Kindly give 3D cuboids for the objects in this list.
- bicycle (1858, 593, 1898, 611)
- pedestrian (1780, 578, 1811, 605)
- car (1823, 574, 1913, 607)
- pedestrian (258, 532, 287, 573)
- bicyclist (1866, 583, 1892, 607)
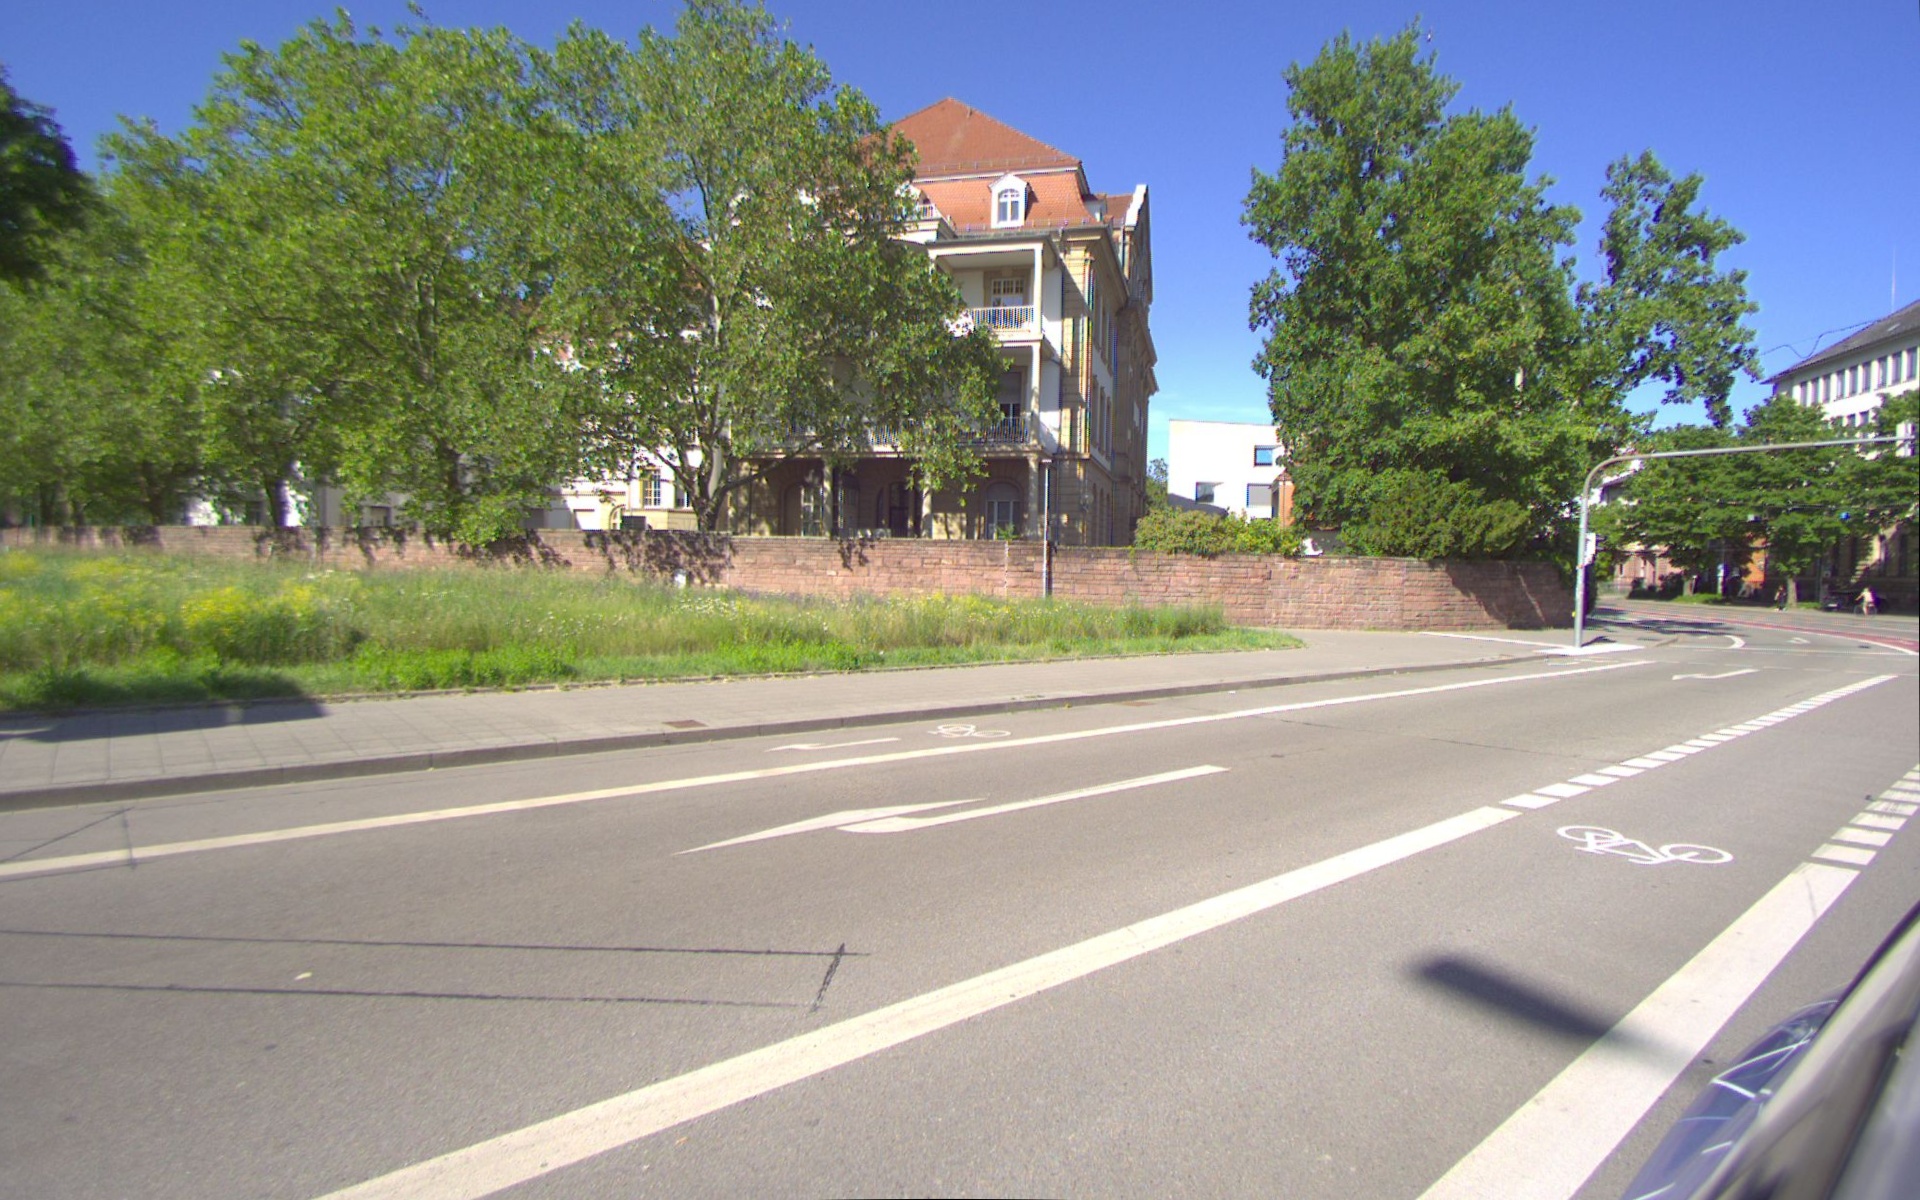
[{"bbox_3d":[55.175,0.102,60.840,0.720,1.003,1.834,1,2,3],"label":"bicycle"},{"bbox_3d":[59.417,-0.623,71.993,1.366,1.844,0.937,1,1,4],"label":"pedestrian"},{"bbox_3d":[61.208,-0.645,68.247,4.615,2.038,2.004,1,2,-9],"label":"car"},{"bbox_3d":[-25.384,-1.749,37.375,0.516,1.461,0.721,0,0,20],"label":"pedestrian"},{"bbox_3d":[55.181,-0.321,60.782,0.720,1.402,0.895,1,1,3],"label":"bicyclist"}]
